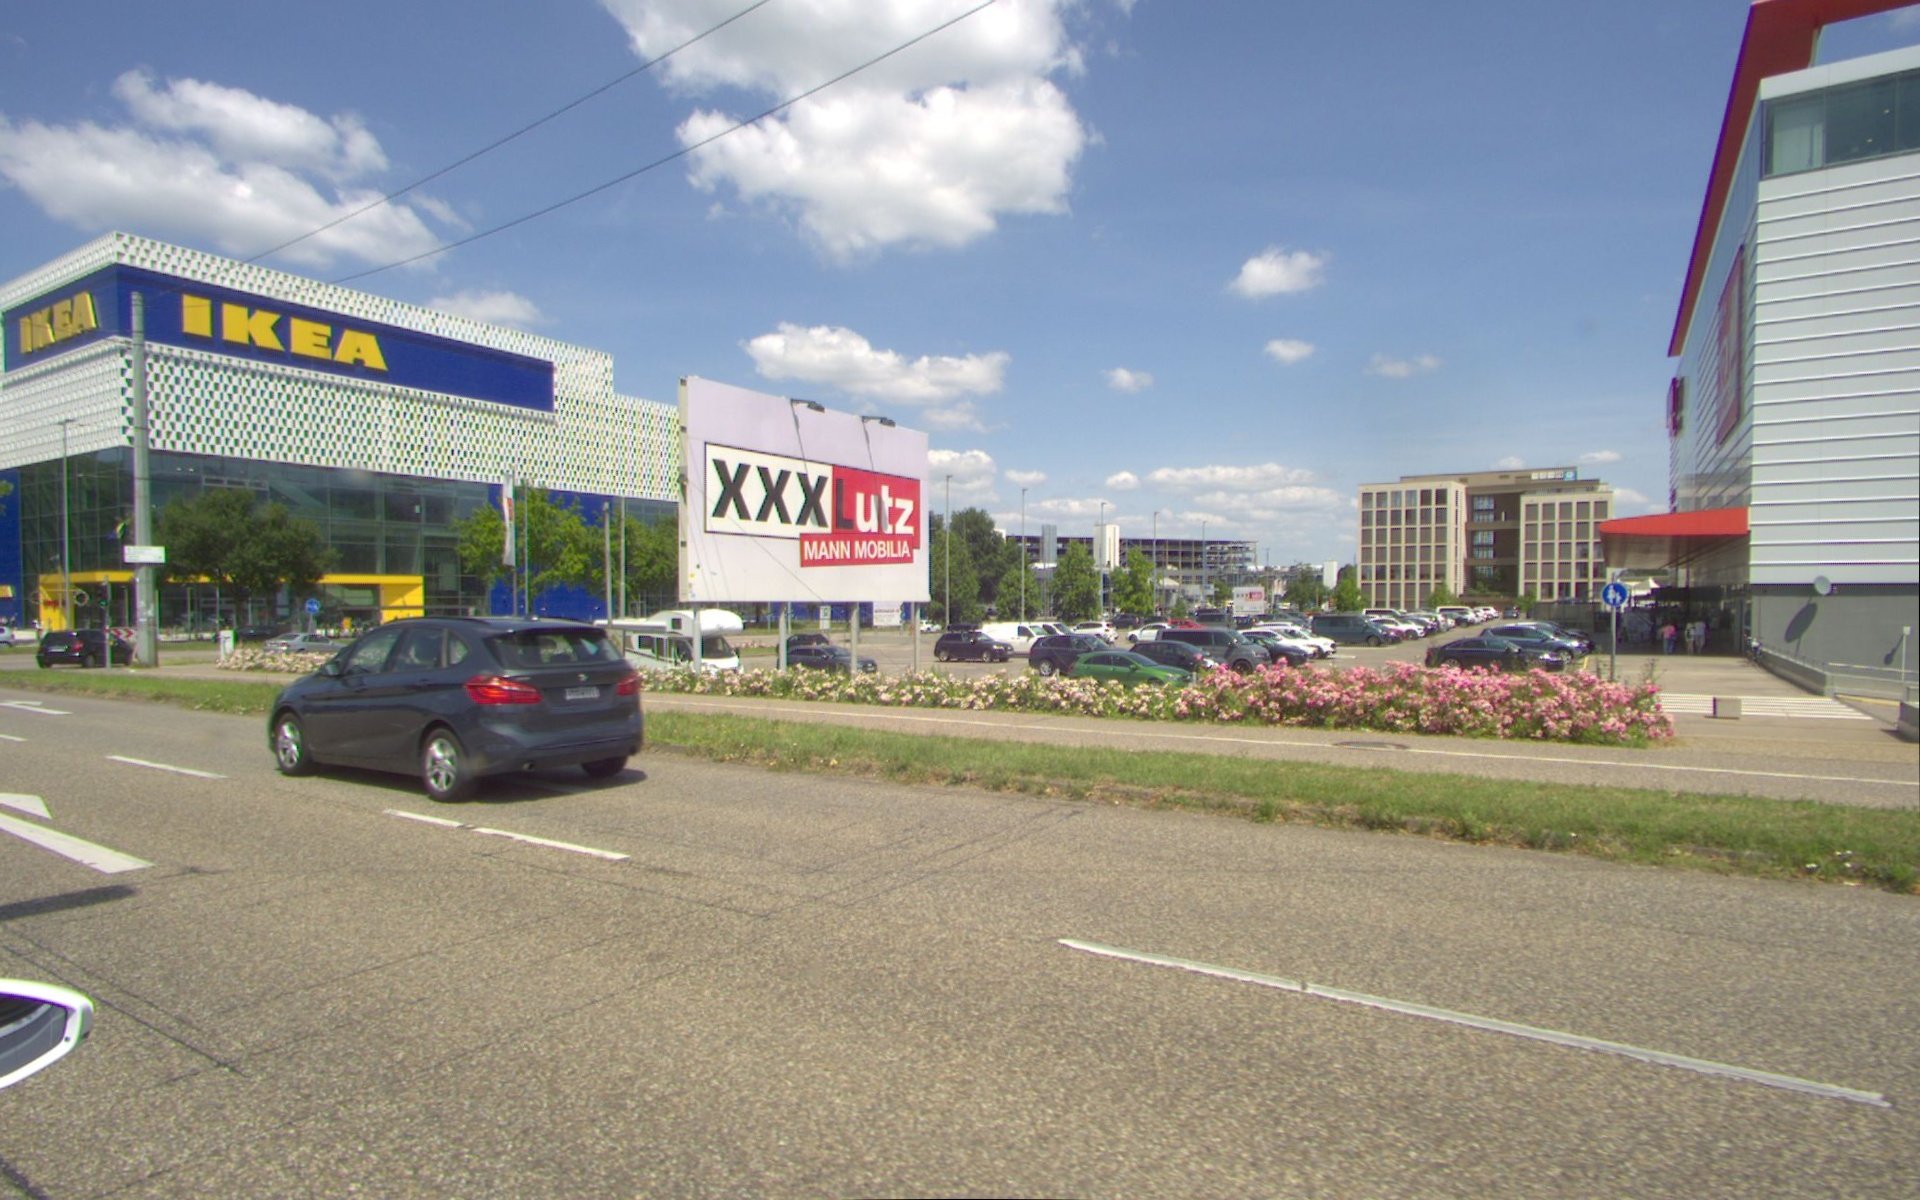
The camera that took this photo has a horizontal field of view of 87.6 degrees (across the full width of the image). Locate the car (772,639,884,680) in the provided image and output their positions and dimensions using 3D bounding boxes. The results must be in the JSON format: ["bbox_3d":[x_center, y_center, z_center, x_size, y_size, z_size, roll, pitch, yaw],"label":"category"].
[{"bbox_3d":[-5.788,2.559,43.667,4.701,1.558,1.989,-1,1,33],"label":"car"}]

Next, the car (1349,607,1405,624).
[{"bbox_3d":[41.770,1.578,100.287,4.929,1.631,1.990,-1,-1,33],"label":"car"}]

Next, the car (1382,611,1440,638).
[{"bbox_3d":[35.511,1.918,78.842,3.943,2.040,1.990,-1,-1,32],"label":"car"}]

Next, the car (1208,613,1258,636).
[{"bbox_3d":[24.824,2.224,91.010,3.943,2.040,1.990,-1,-1,32],"label":"car"}]

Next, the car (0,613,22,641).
[{"bbox_3d":[-52.660,1.392,52.720,1.974,1.505,4.486,0,-2,36],"label":"car"}]

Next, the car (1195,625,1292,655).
[{"bbox_3d":[15.995,2.212,56.503,4.928,1.631,1.990,-1,-1,32],"label":"car"}]

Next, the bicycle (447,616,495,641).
[{"bbox_3d":[-29.293,1.711,60.013,0.976,1.500,2.415,0,-1,37],"label":"bicycle"}]

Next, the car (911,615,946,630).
[{"bbox_3d":[-3.602,2.568,113.935,1.970,1.505,4.371,0,-2,31],"label":"car"}]

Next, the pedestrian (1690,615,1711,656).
[{"bbox_3d":[34.851,1.653,47.156,0.725,1.893,0.739,0,-1,30],"label":"pedestrian"}]

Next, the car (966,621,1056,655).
[{"bbox_3d":[2.961,2.187,58.613,4.929,1.876,1.990,-1,-1,33],"label":"car"}]

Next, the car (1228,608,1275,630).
[{"bbox_3d":[27.603,1.799,94.904,3.943,2.040,1.990,-1,-1,32],"label":"car"}]

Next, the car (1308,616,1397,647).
[{"bbox_3d":[25.192,1.987,64.297,5.106,1.889,1.991,0,-1,31],"label":"car"}]

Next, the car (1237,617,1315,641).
[{"bbox_3d":[22.088,2.039,70.066,4.929,1.631,1.990,-1,-1,33],"label":"car"}]

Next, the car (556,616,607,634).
[{"bbox_3d":[-33.419,2.229,88.510,1.974,1.505,3.779,0,-2,36],"label":"car"}]

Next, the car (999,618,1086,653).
[{"bbox_3d":[4.945,2.099,60.401,4.929,2.033,1.990,-1,-1,33],"label":"car"}]

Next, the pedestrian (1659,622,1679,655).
[{"bbox_3d":[33.793,1.823,47.723,0.725,1.578,0.739,0,-1,30],"label":"pedestrian"}]

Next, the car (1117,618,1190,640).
[{"bbox_3d":[14.425,2.132,74.712,4.929,1.631,1.990,-1,-1,33],"label":"car"}]

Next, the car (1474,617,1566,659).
[{"bbox_3d":[27.985,1.873,50.072,3.943,2.040,1.990,-1,-1,32],"label":"car"}]

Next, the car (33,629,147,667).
[{"bbox_3d":[-36.426,1.988,42.067,1.964,1.505,3.996,1,-2,-14],"label":"car"}]

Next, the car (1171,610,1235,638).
[{"bbox_3d":[20.665,2.046,85.261,4.929,2.333,1.990,-1,-1,33],"label":"car"}]

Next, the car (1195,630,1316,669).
[{"bbox_3d":[13.429,2.207,45.610,4.929,1.631,1.990,-1,-1,33],"label":"car"}]

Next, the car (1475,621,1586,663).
[{"bbox_3d":[25.674,1.871,45.117,4.271,1.804,1.990,-1,-2,33],"label":"car"}]

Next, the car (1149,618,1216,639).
[{"bbox_3d":[18.003,2.289,81.180,4.929,1.631,1.990,-1,-1,33],"label":"car"}]

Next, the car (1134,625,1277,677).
[{"bbox_3d":[10.147,2.061,41.619,5.456,2.039,1.990,-1,-1,33],"label":"car"}]

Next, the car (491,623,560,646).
[{"bbox_3d":[-29.126,2.296,67.210,1.712,1.508,3.977,-1,-1,34],"label":"car"}]

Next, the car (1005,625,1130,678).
[{"bbox_3d":[4.538,2.122,42.572,4.929,2.041,1.989,-1,1,33],"label":"car"}]

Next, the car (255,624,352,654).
[{"bbox_3d":[-35.362,2.091,54.079,1.963,1.505,4.164,1,-2,14],"label":"car"}]

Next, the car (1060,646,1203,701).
[{"bbox_3d":[5.694,2.387,33.335,4.242,1.517,1.988,-1,2,33],"label":"car"}]

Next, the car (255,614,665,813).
[{"bbox_3d":[-4.886,0.907,9.633,4.042,1.546,1.757,0,-1,33],"label":"car"}]

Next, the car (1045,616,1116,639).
[{"bbox_3d":[9.005,2.047,74.971,4.922,1.631,1.993,0,-1,27],"label":"car"}]

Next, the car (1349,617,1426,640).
[{"bbox_3d":[30.932,2.022,72.486,4.929,1.631,1.990,-1,-1,33],"label":"car"}]

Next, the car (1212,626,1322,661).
[{"bbox_3d":[15.323,2.137,50.118,4.929,1.631,1.990,-1,-1,33],"label":"car"}]

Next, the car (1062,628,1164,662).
[{"bbox_3d":[7.992,2.297,52.424,4.929,1.632,1.989,-1,0,33],"label":"car"}]

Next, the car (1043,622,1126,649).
[{"bbox_3d":[7.971,2.257,64.332,4.929,1.631,1.990,-1,-1,33],"label":"car"}]

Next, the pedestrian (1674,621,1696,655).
[{"bbox_3d":[33.739,1.763,46.601,0.725,1.578,0.739,0,-1,30],"label":"pedestrian"}]

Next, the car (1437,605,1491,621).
[{"bbox_3d":[52.878,1.371,105.069,4.929,1.631,1.990,-1,-1,33],"label":"car"}]

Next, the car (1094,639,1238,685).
[{"bbox_3d":[7.680,2.269,37.500,4.929,1.570,1.990,-1,-1,33],"label":"car"}]

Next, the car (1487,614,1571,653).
[{"bbox_3d":[31.013,1.788,54.570,3.943,2.039,1.990,0,-1,32],"label":"car"}]

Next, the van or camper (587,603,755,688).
[{"bbox_3d":[-11.361,1.694,39.050,7.129,3.059,2.499,-1,-1,36],"label":"van or camper"}]

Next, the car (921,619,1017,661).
[{"bbox_3d":[0.480,2.120,54.359,4.929,2.162,1.990,-1,-1,33],"label":"car"}]

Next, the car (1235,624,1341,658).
[{"bbox_3d":[17.115,2.106,52.283,4.929,1.672,1.990,-1,-1,33],"label":"car"}]

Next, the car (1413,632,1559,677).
[{"bbox_3d":[20.508,2.079,39.138,4.929,1.631,1.990,-1,-1,33],"label":"car"}]

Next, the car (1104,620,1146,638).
[{"bbox_3d":[17.286,3.016,104.784,3.943,1.863,1.819,-1,-1,32],"label":"car"}]
